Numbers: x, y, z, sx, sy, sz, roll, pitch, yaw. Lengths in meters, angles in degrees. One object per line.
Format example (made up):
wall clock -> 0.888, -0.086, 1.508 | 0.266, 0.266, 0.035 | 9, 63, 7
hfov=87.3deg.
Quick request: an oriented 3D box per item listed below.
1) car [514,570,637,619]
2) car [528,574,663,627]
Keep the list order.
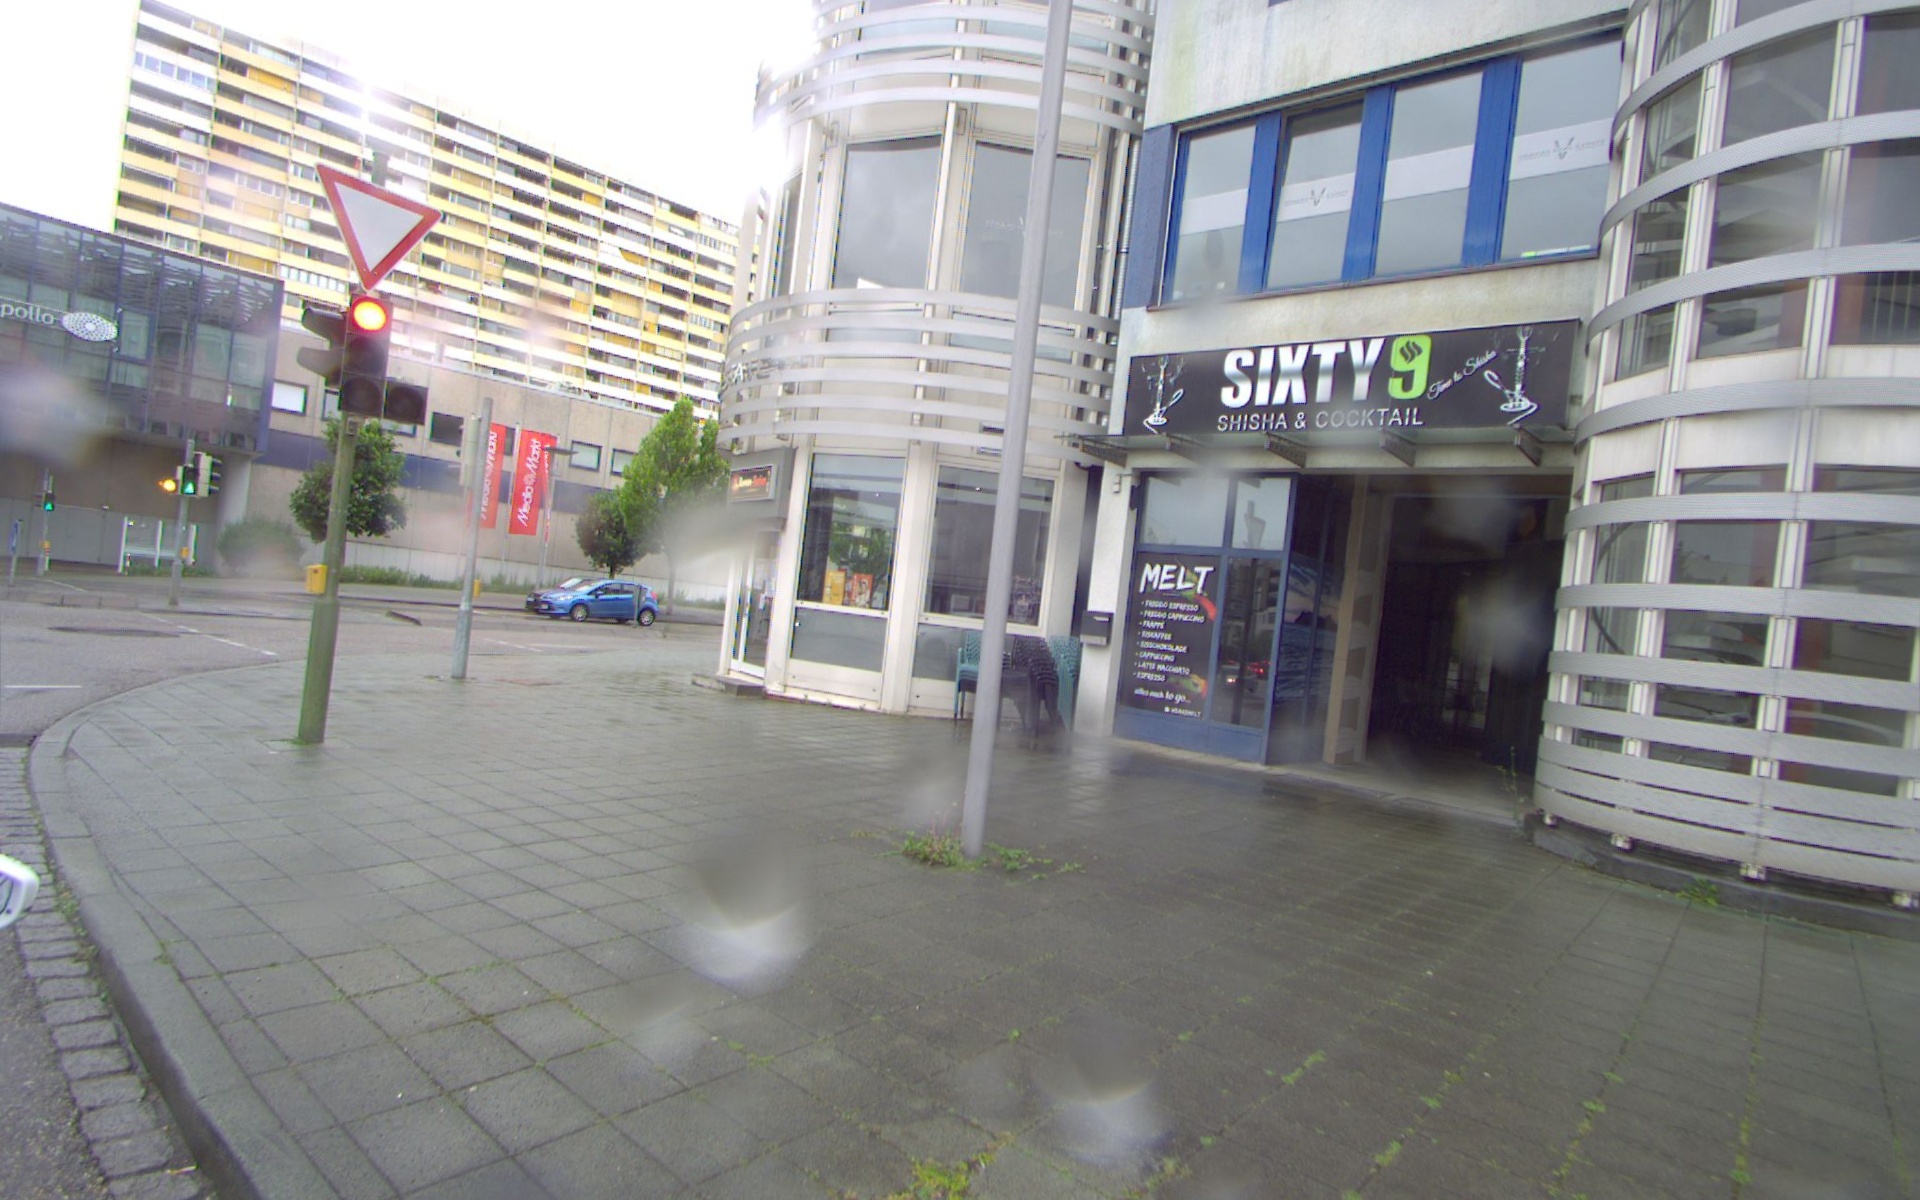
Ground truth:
car -> -13.753, -0.164, 36.069 | 1.720, 1.412, 3.677 | 5, 0, 41
car -> -12.056, 0.032, 33.432 | 1.655, 1.415, 3.837 | 5, 0, 40
